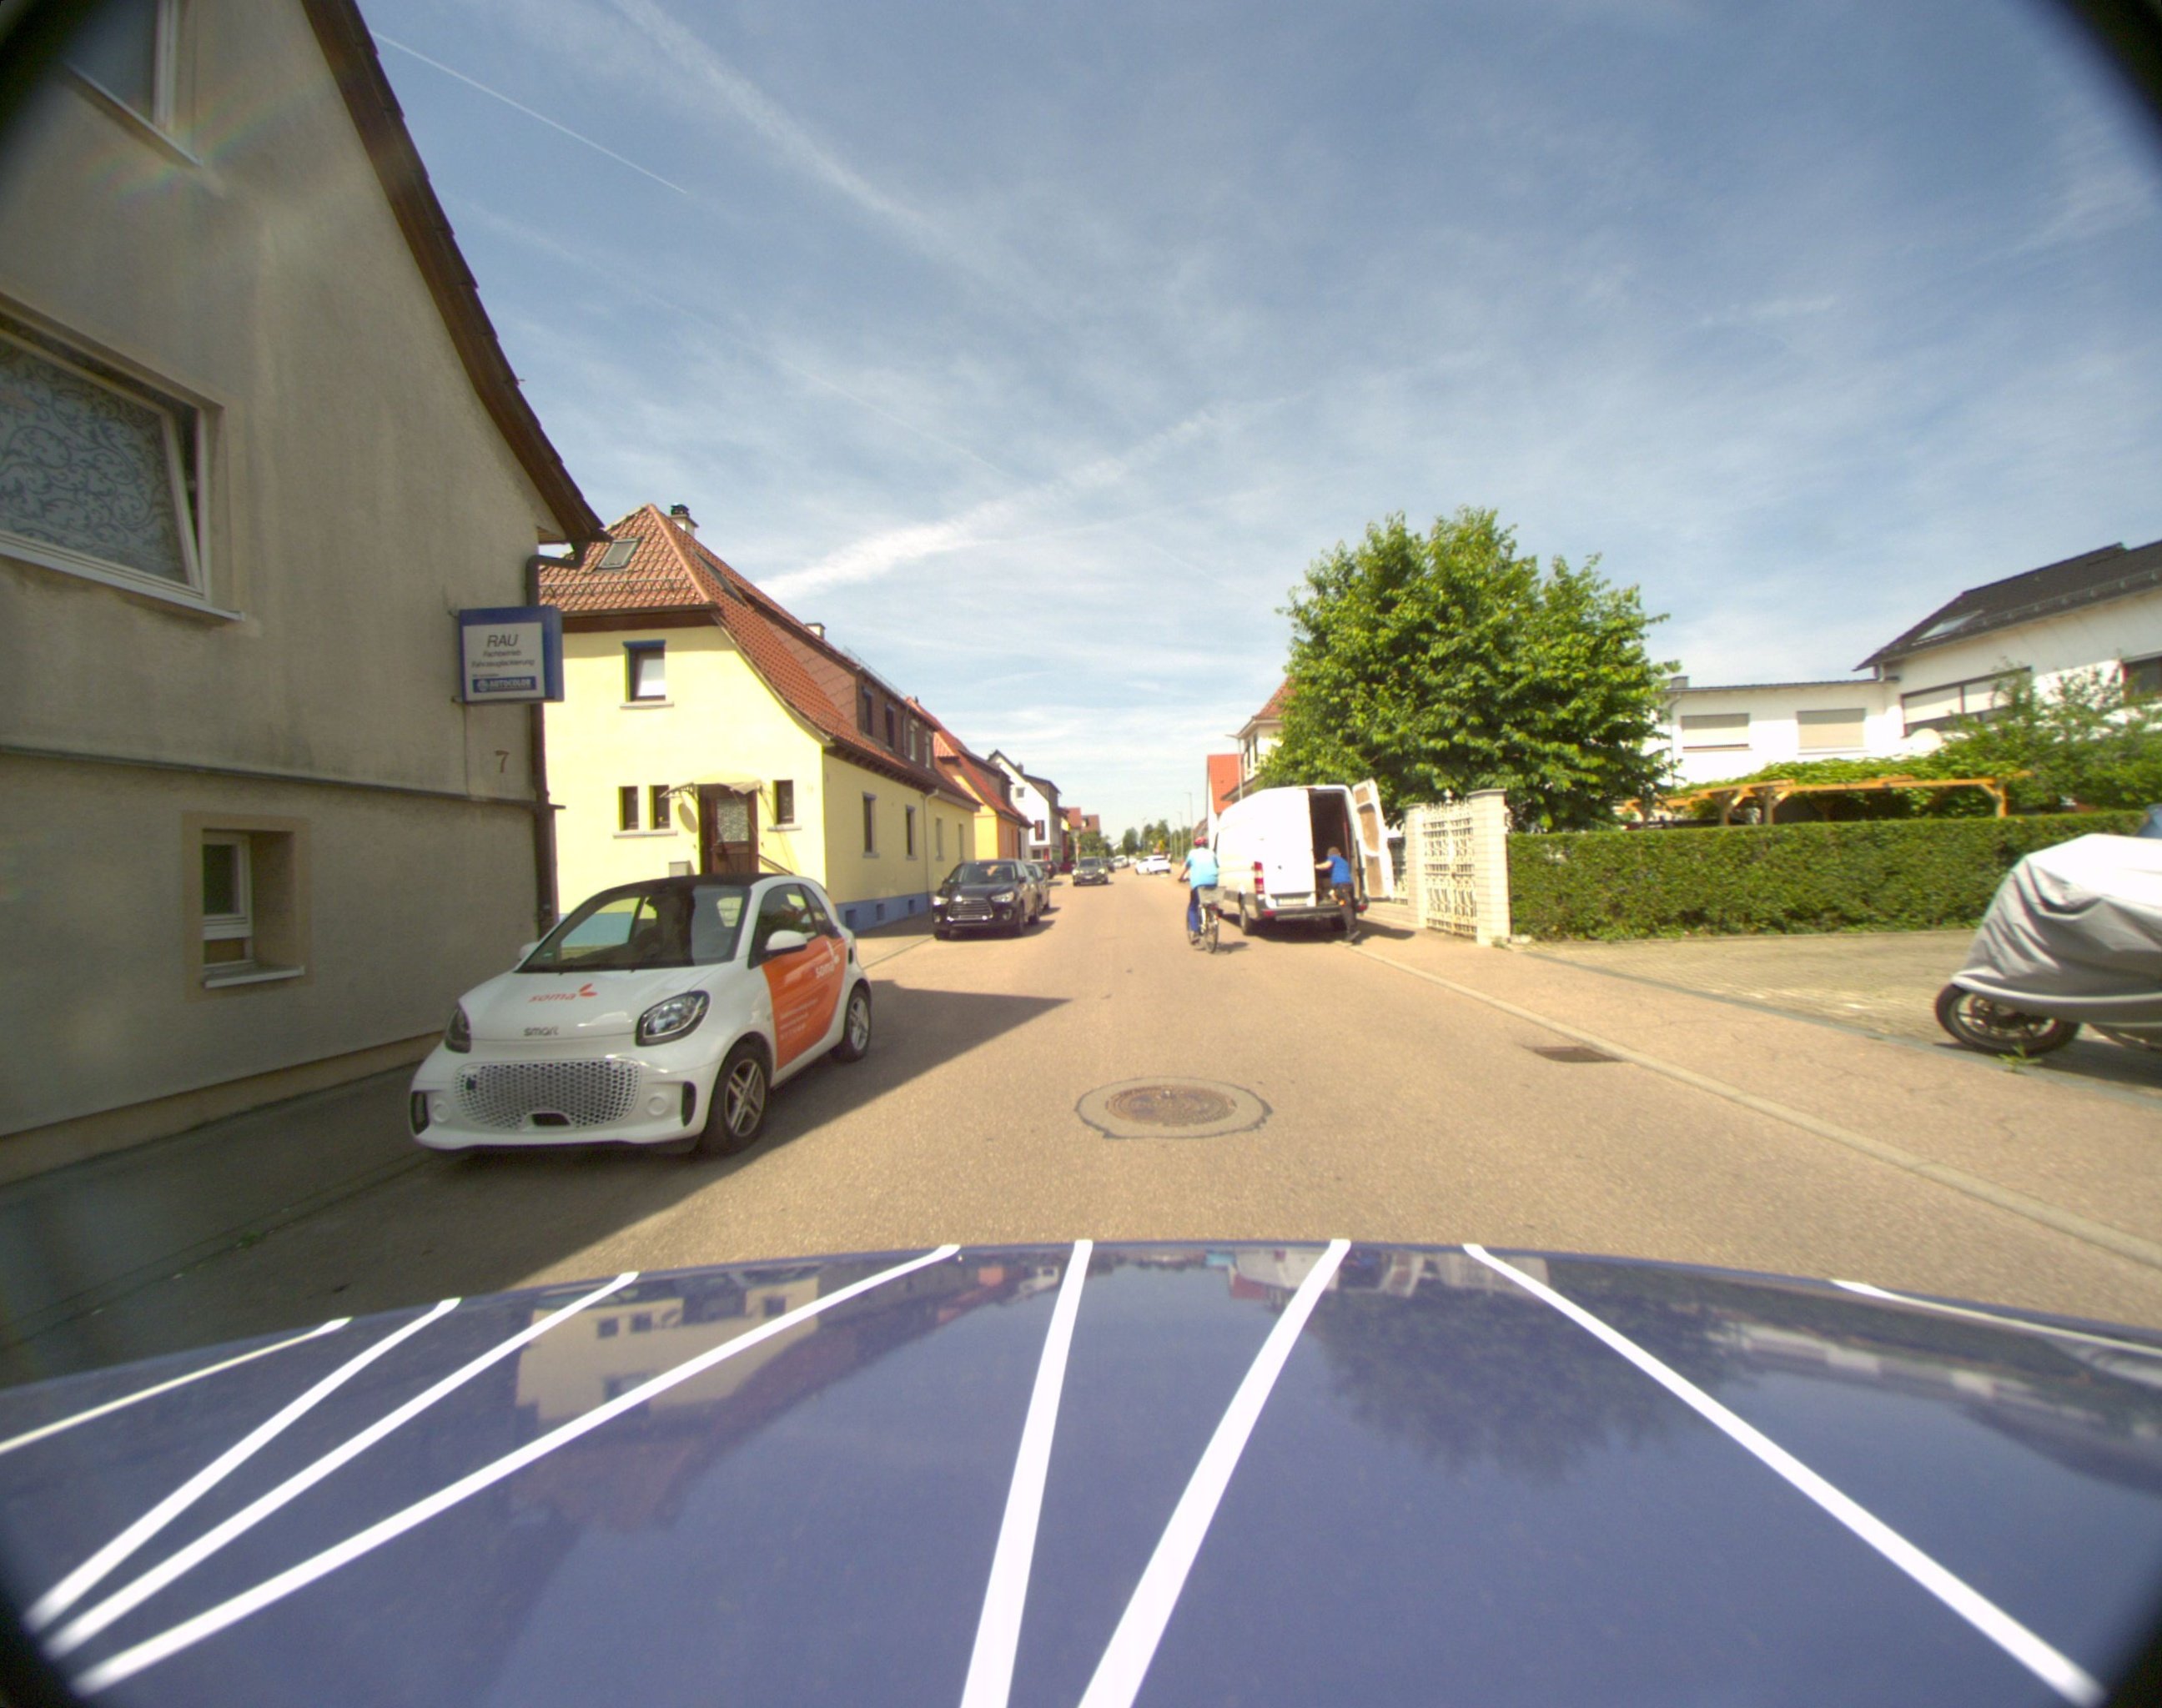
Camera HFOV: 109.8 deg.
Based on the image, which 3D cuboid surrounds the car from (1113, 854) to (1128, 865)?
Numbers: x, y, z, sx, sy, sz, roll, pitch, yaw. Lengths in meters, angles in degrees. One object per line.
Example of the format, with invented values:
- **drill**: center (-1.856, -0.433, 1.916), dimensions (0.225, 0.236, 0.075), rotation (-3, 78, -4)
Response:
- **car**: center (5.375, 0.727, 103.842), dimensions (1.755, 1.412, 4.422), rotation (-2, 0, 6)

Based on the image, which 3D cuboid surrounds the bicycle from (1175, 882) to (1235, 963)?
- **bicycle**: center (1.986, 1.055, 12.431), dimensions (0.672, 1.126, 2.189), rotation (0, 0, 2)

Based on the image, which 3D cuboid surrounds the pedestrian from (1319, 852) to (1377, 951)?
- **pedestrian**: center (4.291, 0.747, 12.265), dimensions (0.574, 1.509, 0.726), rotation (-5, 1, 1)

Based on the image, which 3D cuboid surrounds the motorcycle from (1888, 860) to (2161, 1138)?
- **motorcycle**: center (5.920, 0.751, 4.040), dimensions (0.785, 1.385, 2.353), rotation (-2, 0, 2)

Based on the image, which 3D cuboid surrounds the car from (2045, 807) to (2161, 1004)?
- **car**: center (10.440, 0.395, 5.510), dimensions (1.776, 1.668, 3.931), rotation (-2, 0, -22)

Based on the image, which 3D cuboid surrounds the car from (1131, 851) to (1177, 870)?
- **car**: center (5.754, 0.538, 60.290), dimensions (1.931, 1.390, 4.488), rotation (-3, 0, -18)

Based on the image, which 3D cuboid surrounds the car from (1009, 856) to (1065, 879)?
- **car**: center (-3.710, 1.116, 63.907), dimensions (4.301, 1.643, 1.849), rotation (-3, 0, 11)

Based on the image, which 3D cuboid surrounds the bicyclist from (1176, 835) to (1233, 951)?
- **bicyclist**: center (1.978, 0.608, 12.321), dimensions (0.715, 1.788, 0.942), rotation (-2, 1, 1)

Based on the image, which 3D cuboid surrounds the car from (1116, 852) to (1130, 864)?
- **car**: center (6.131, 0.552, 110.422), dimensions (1.740, 1.652, 4.338), rotation (-4, 0, 6)

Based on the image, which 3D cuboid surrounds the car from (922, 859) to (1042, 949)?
- **car**: center (-1.993, 0.965, 16.534), dimensions (1.732, 1.590, 4.254), rotation (-3, 0, 3)

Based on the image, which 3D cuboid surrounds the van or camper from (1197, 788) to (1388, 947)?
- **van or camper**: center (4.049, 0.229, 16.091), dimensions (2.190, 2.556, 6.807), rotation (-3, 0, 1)

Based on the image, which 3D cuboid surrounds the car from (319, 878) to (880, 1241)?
- **car**: center (-2.666, 1.020, 5.085), dimensions (1.677, 1.550, 3.040), rotation (-2, 0, 2)

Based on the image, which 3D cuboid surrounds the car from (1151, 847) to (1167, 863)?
- **car**: center (10.441, 0.155, 101.168), dimensions (1.972, 1.940, 4.698), rotation (-2, 0, 6)

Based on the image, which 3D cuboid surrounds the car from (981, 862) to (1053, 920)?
- **car**: center (-1.795, 1.020, 22.247), dimensions (1.614, 1.422, 3.754), rotation (-3, 0, 2)

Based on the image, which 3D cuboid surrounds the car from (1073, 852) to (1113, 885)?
- **car**: center (0.717, 0.776, 42.066), dimensions (1.837, 1.637, 4.325), rotation (-3, 0, 5)
